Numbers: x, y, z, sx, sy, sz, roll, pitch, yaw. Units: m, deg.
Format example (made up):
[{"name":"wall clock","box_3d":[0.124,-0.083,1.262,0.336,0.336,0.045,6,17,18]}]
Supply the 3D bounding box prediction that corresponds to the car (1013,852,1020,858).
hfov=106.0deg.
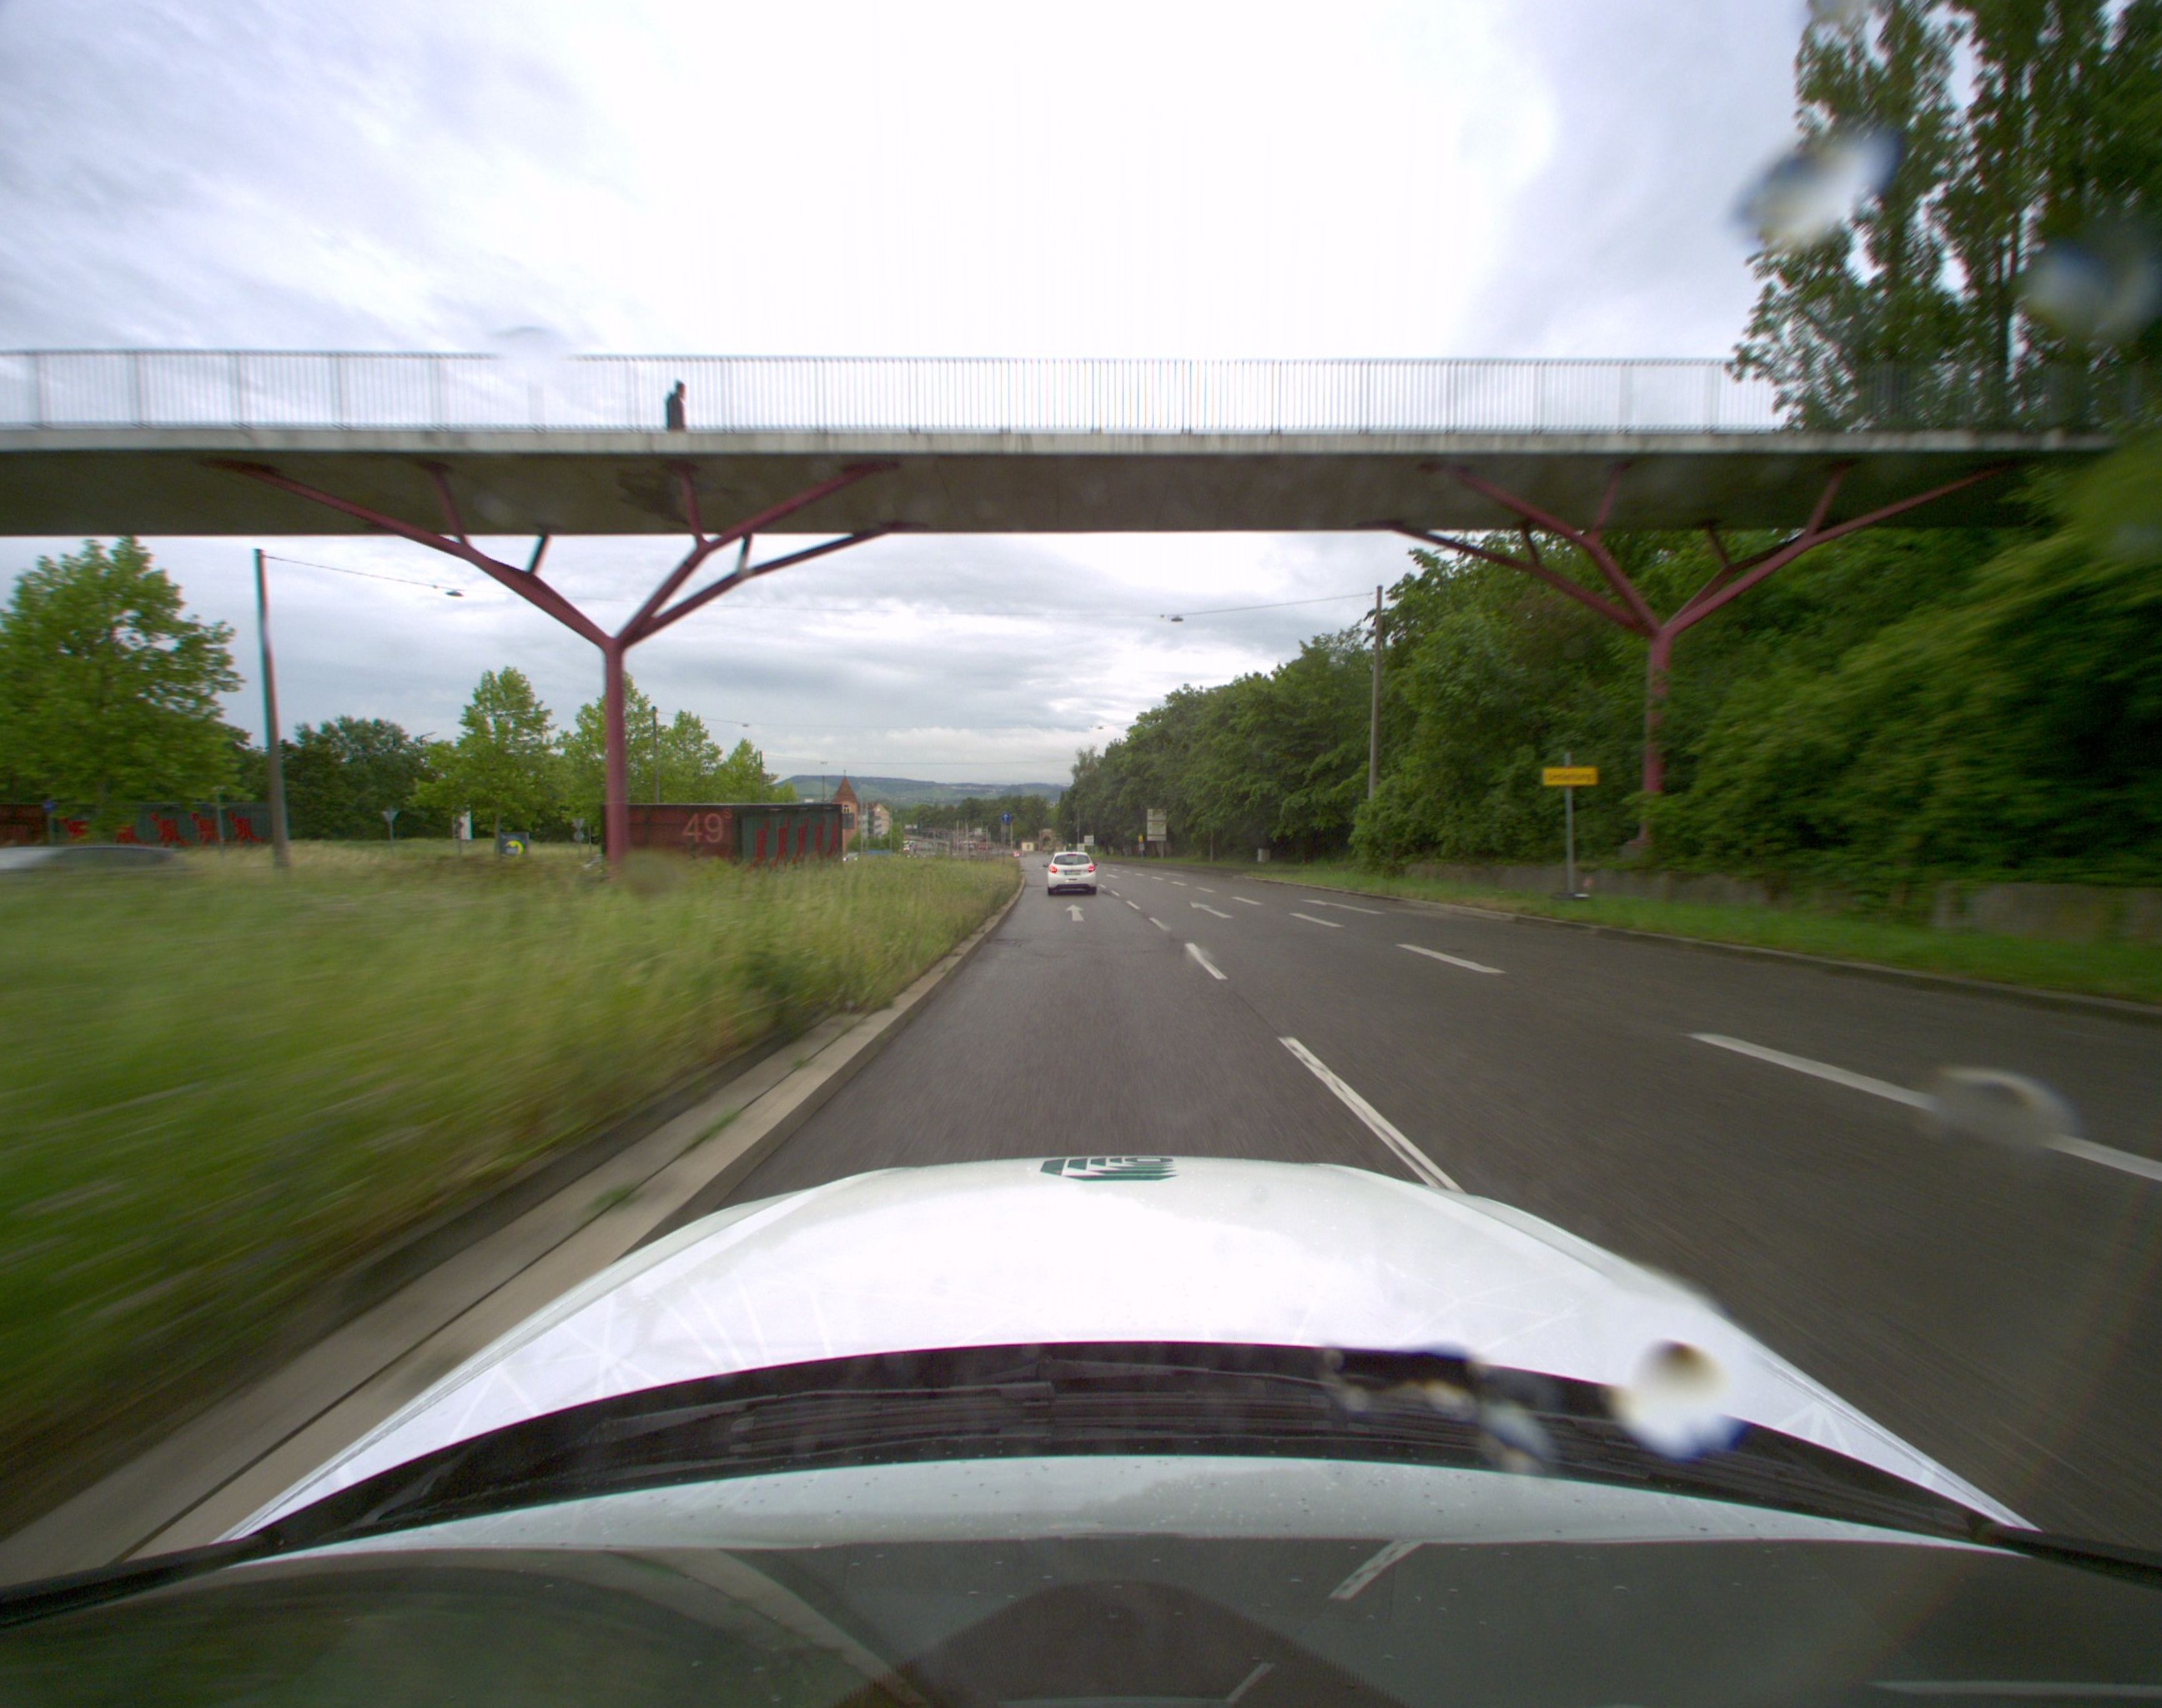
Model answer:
[{"name":"car","box_3d":[-18.350,0.347,230.503,1.818,1.606,3.995,-2,0,-3]}]

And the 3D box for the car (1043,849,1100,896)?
[{"name":"car","box_3d":[-0.376,0.604,29.078,1.863,1.511,3.897,-1,1,-2]}]

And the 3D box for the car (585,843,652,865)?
[{"name":"car","box_3d":[-22.648,0.006,39.981,1.260,0.945,3.090,2,0,5]}]
